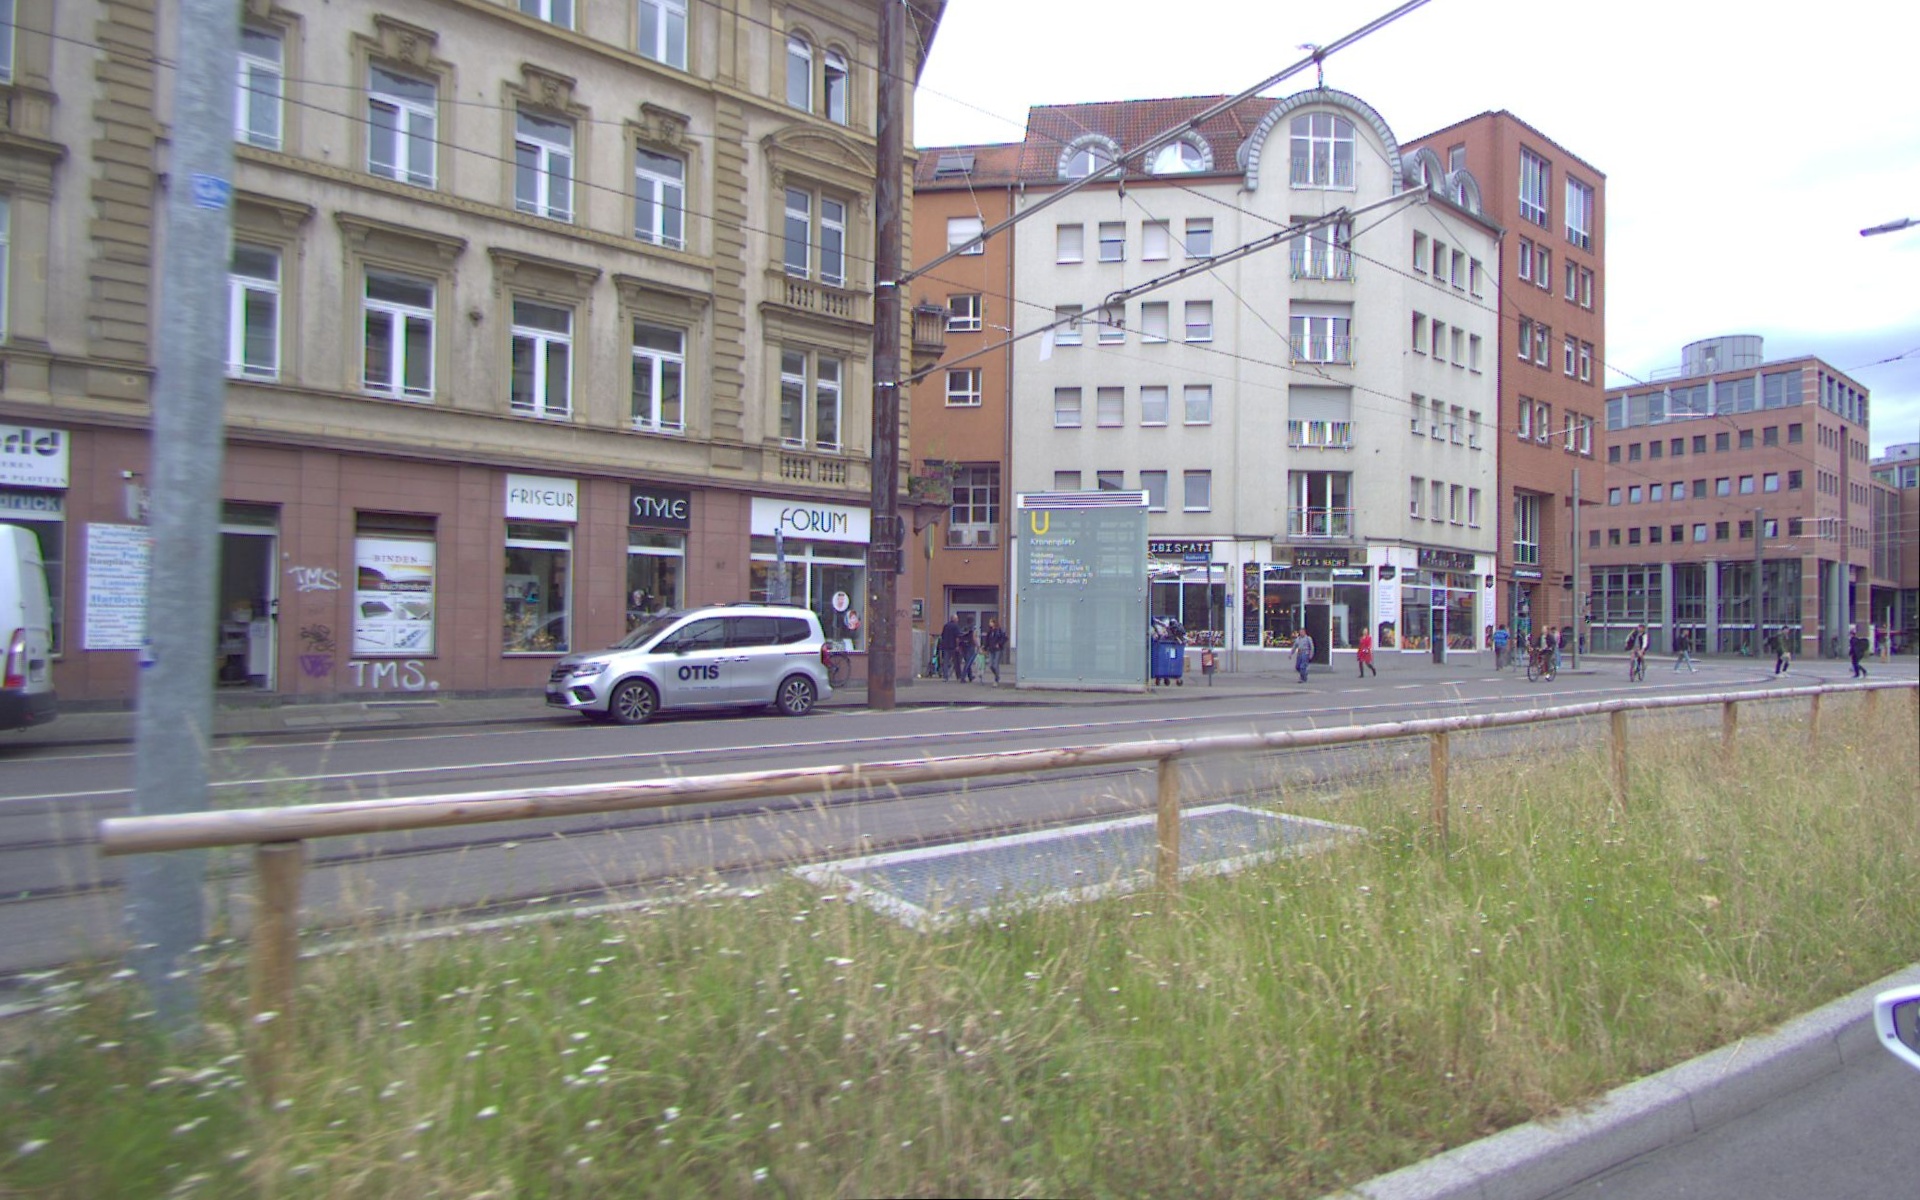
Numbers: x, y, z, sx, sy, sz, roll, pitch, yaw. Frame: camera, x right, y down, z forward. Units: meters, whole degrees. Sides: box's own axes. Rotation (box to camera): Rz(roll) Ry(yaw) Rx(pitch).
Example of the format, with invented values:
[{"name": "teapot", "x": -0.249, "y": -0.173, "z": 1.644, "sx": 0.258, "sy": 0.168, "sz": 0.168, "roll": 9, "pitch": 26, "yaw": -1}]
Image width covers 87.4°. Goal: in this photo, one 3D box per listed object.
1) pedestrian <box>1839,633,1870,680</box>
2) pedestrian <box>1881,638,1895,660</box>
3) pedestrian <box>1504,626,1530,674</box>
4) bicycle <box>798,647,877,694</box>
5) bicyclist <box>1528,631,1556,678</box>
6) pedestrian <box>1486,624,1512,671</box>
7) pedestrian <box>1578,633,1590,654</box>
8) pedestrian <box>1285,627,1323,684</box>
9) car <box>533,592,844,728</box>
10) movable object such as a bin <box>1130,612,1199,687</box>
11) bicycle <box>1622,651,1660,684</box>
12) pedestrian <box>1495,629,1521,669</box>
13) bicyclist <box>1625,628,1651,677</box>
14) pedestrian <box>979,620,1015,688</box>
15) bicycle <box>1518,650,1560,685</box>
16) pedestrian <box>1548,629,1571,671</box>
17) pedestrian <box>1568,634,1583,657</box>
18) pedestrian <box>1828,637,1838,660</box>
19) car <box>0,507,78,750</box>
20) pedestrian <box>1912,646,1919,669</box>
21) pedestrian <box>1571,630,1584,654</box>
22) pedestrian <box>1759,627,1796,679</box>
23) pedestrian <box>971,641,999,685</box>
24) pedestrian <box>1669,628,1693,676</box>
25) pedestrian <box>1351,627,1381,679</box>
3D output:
[{"name": "pedestrian", "x": 33.496, "y": 2.119, "z": 37.604, "sx": 0.793, "sy": 1.706, "sz": 0.737, "roll": 3, "pitch": -1, "yaw": -41}, {"name": "pedestrian", "x": 80.111, "y": 4.253, "z": 86.686, "sx": 0.721, "sy": 1.866, "sz": 0.701, "roll": 1, "pitch": 0, "yaw": 29}, {"name": "pedestrian", "x": 19.845, "y": 1.782, "z": 35.788, "sx": 0.652, "sy": 1.709, "sz": 0.719, "roll": 0, "pitch": -3, "yaw": 41}, {"name": "bicycle", "x": -2.624, "y": 1.500, "z": 21.579, "sx": 1.667, "sy": 0.972, "sz": 0.338, "roll": 2, "pitch": 0, "yaw": -30}, {"name": "bicyclist", "x": 18.091, "y": 1.681, "z": 31.225, "sx": 0.805, "sy": 1.425, "sz": 0.475, "roll": 2, "pitch": -2, "yaw": -38}, {"name": "pedestrian", "x": 19.560, "y": 1.723, "z": 36.457, "sx": 0.653, "sy": 1.709, "sz": 0.718, "roll": -1, "pitch": -3, "yaw": 44}, {"name": "pedestrian", "x": 47.437, "y": 3.306, "z": 76.311, "sx": 0.731, "sy": 1.581, "sz": 0.573, "roll": 1, "pitch": -2, "yaw": 33}, {"name": "pedestrian", "x": 10.509, "y": 1.684, "z": 30.703, "sx": 0.811, "sy": 1.709, "sz": 0.720, "roll": 2, "pitch": -2, "yaw": -16}, {"name": "car", "x": -4.265, "y": 0.933, "z": 16.166, "sx": 4.481, "sy": 1.889, "sz": 1.888, "roll": 2, "pitch": -3, "yaw": -39}, {"name": "movable object such as a bin", "x": 5.682, "y": 1.368, "z": 27.890, "sx": 1.598, "sy": 2.007, "sz": 1.026, "roll": 3, "pitch": -3, "yaw": -30}, {"name": "bicycle", "x": 22.130, "y": 2.178, "z": 32.632, "sx": 1.895, "sy": 1.034, "sz": 0.472, "roll": 2, "pitch": -2, "yaw": -38}, {"name": "pedestrian", "x": 23.908, "y": 2.148, "z": 43.837, "sx": 0.793, "sy": 1.706, "sz": 0.737, "roll": 3, "pitch": -1, "yaw": -41}, {"name": "bicyclist", "x": 21.936, "y": 1.692, "z": 32.504, "sx": 0.805, "sy": 1.561, "sz": 0.487, "roll": 2, "pitch": -2, "yaw": -38}, {"name": "pedestrian", "x": 0.889, "y": 1.287, "z": 23.933, "sx": 0.648, "sy": 1.577, "sz": 0.552, "roll": 1, "pitch": 0, "yaw": -24}, {"name": "bicycle", "x": 17.910, "y": 2.073, "z": 31.057, "sx": 1.895, "sy": 1.034, "sz": 0.475, "roll": 2, "pitch": -2, "yaw": -39}, {"name": "pedestrian", "x": 25.036, "y": 2.078, "z": 41.924, "sx": 0.793, "sy": 1.706, "sz": 0.564, "roll": 3, "pitch": -1, "yaw": -41}, {"name": "pedestrian", "x": 43.888, "y": 3.220, "z": 71.636, "sx": 0.736, "sy": 1.581, "sz": 0.569, "roll": 3, "pitch": -1, "yaw": -31}, {"name": "pedestrian", "x": 61.714, "y": 3.436, "z": 71.023, "sx": 0.443, "sy": 1.552, "sz": 0.520, "roll": 1, "pitch": 0, "yaw": 36}, {"name": "car", "x": -12.427, "y": 0.290, "z": 9.752, "sx": 5.615, "sy": 2.519, "sz": 2.038, "roll": 2, "pitch": -4, "yaw": -38}, {"name": "pedestrian", "x": 79.677, "y": 4.773, "z": 83.414, "sx": 0.720, "sy": 1.866, "sz": 0.702, "roll": 1, "pitch": 0, "yaw": 22}, {"name": "pedestrian", "x": 46.059, "y": 3.136, "z": 74.944, "sx": 0.731, "sy": 1.710, "sz": 0.573, "roll": 2, "pitch": -1, "yaw": 30}, {"name": "pedestrian", "x": 31.039, "y": 2.004, "z": 38.144, "sx": 0.792, "sy": 1.915, "sz": 0.889, "roll": 3, "pitch": -1, "yaw": -39}, {"name": "pedestrian", "x": 0.607, "y": 1.528, "z": 24.438, "sx": 0.447, "sy": 1.044, "sz": 0.551, "roll": 1, "pitch": 0, "yaw": -28}, {"name": "pedestrian", "x": 29.630, "y": 2.131, "z": 41.292, "sx": 0.792, "sy": 1.914, "sz": 0.605, "roll": 3, "pitch": -2, "yaw": -39}, {"name": "pedestrian", "x": 13.479, "y": 1.756, "z": 33.344, "sx": 0.713, "sy": 1.709, "sz": 0.658, "roll": -1, "pitch": -3, "yaw": 43}]
